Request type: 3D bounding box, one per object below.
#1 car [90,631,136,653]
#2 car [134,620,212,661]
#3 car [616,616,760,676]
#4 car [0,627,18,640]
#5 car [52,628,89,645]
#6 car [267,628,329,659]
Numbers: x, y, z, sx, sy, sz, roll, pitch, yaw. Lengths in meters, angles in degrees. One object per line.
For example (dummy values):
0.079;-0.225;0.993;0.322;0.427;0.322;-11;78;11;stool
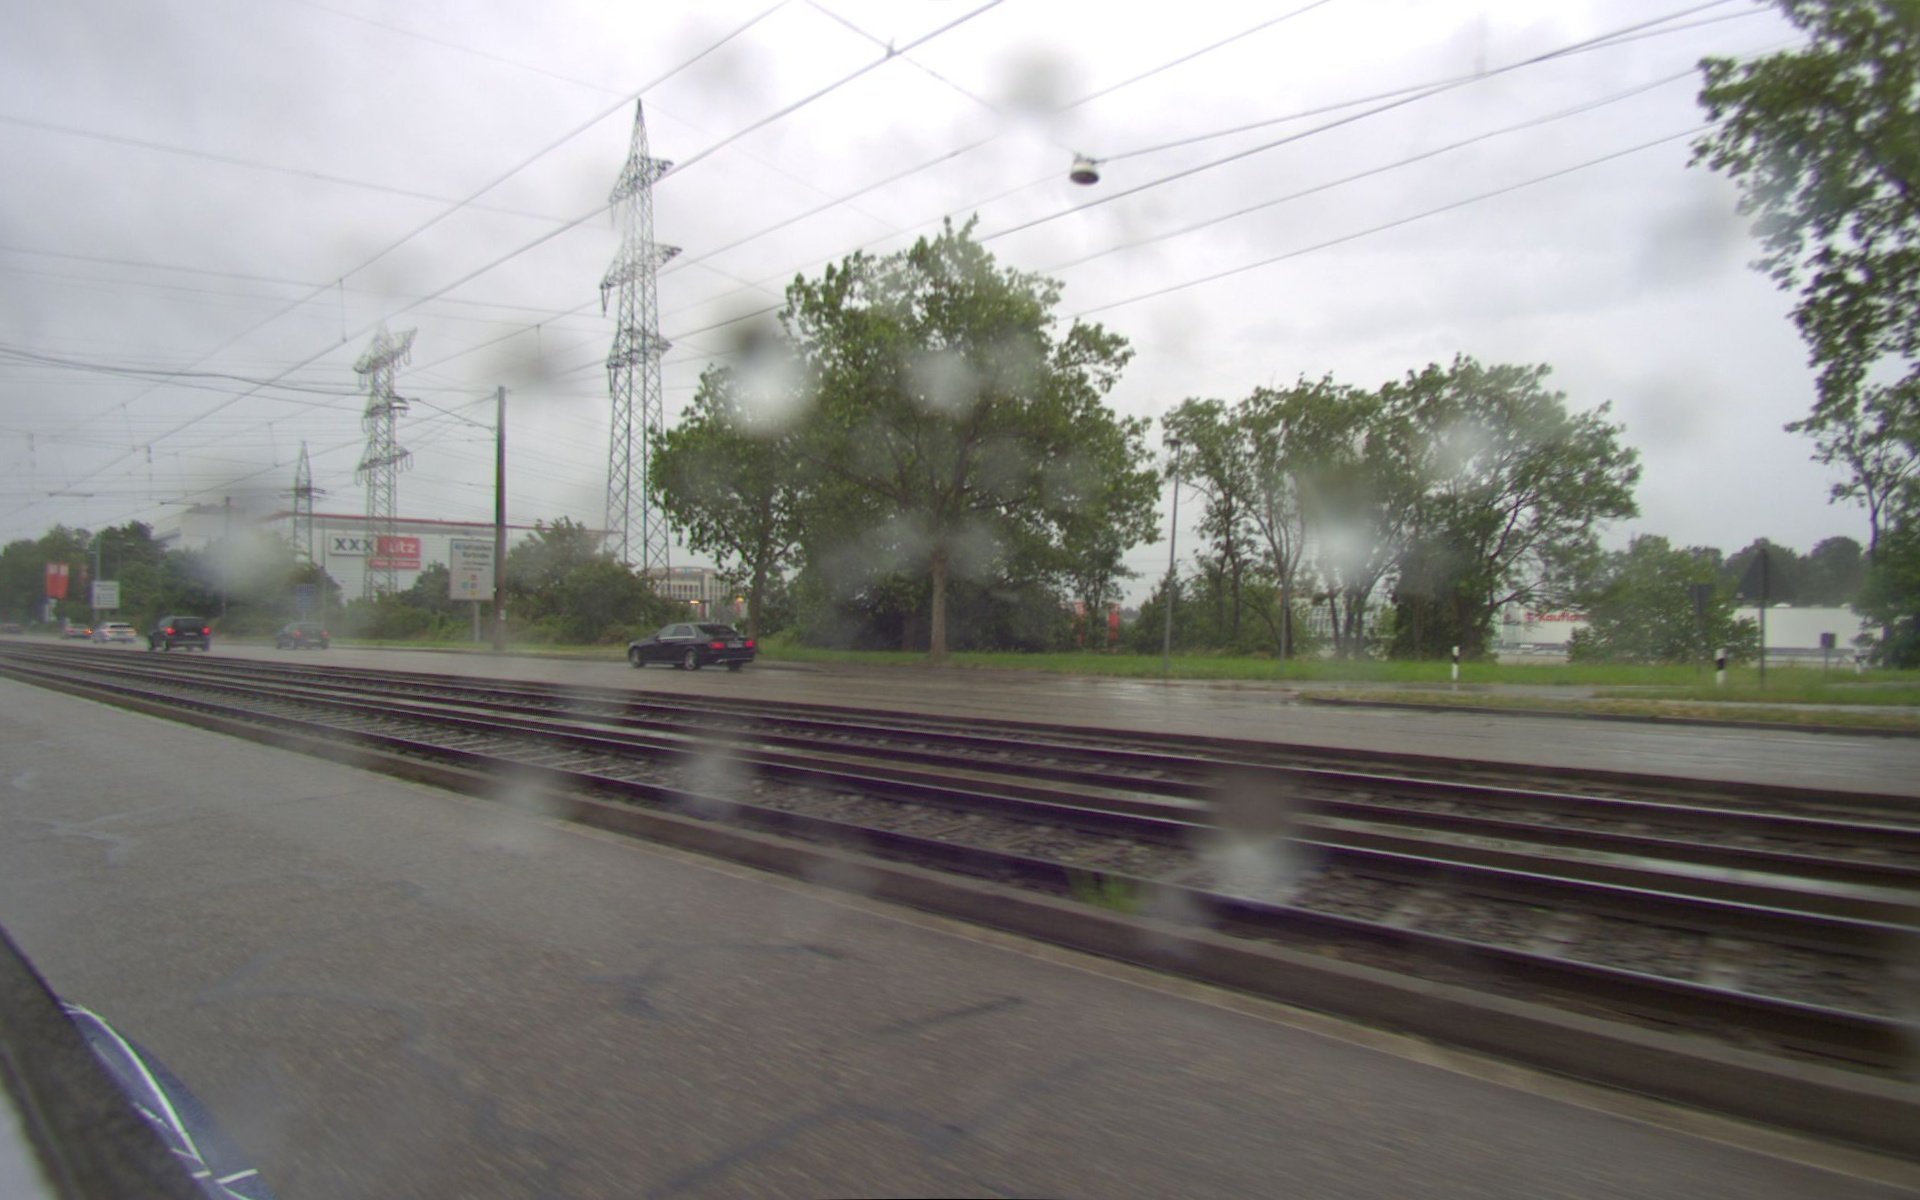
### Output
-57.592;2.864;68.793;4.543;1.364;1.724;-3;-1;41;car
-38.346;1.978;49.261;4.998;1.823;1.869;-3;-1;39;car
-8.578;1.442;31.750;4.640;1.699;1.825;-2;-1;36;car
-115.672;4.033;122.605;5.251;1.475;1.971;-3;-4;43;car
-79.335;3.263;90.229;5.067;1.373;1.740;-3;-1;41;car
-35.377;2.319;54.076;3.996;1.564;1.672;-3;-1;40;car
